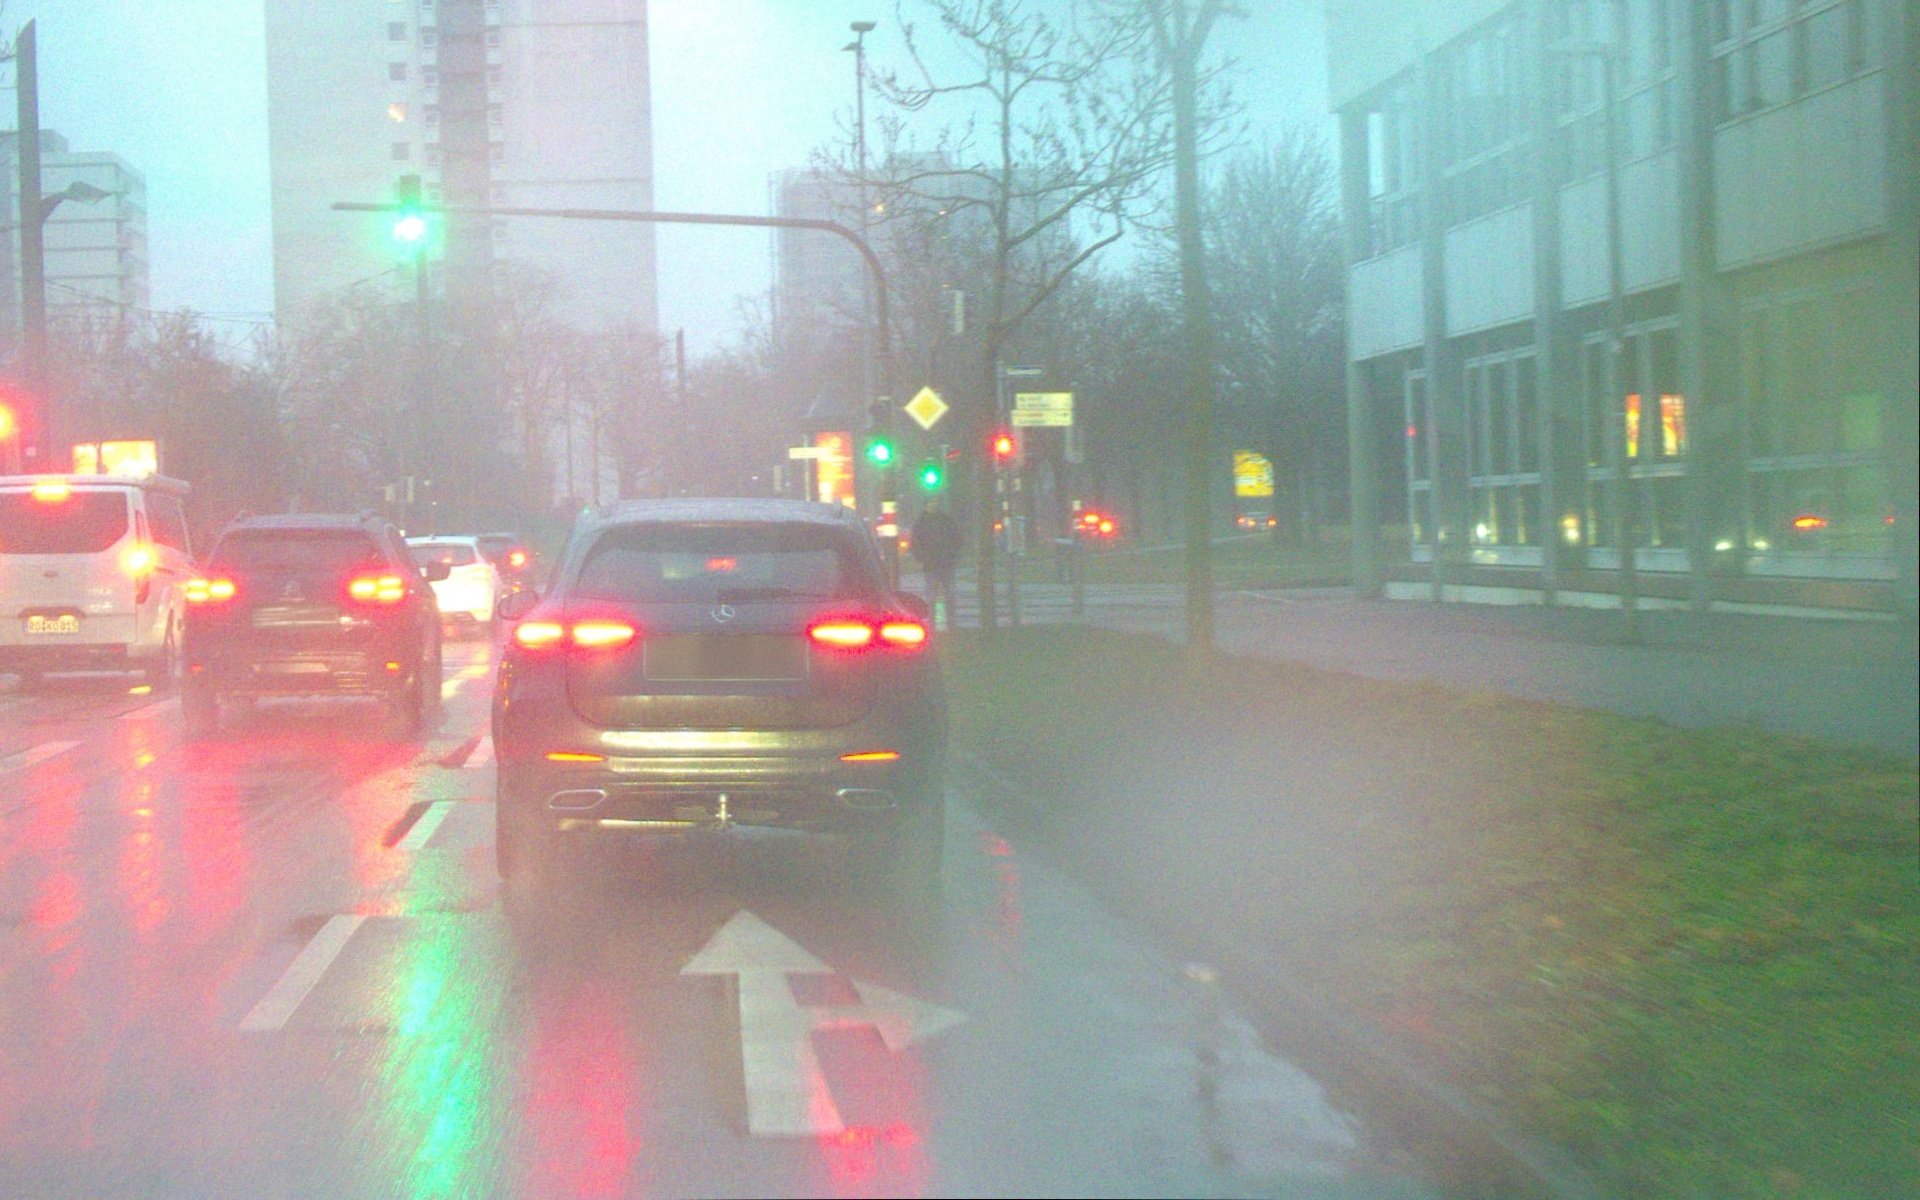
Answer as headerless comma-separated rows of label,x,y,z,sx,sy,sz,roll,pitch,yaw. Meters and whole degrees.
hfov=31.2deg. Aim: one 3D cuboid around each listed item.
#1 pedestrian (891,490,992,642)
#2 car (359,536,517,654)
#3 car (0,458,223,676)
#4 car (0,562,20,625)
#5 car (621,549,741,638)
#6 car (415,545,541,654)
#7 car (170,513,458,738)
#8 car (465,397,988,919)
pedestrian,-0.221,-0.420,41.785,0.796,1.744,0.861,-5,2,22
car,-7.462,-0.073,49.456,1.993,1.636,4.023,0,0,-5
car,-8.734,-0.350,34.588,1.952,2.026,4.884,-1,1,-5
car,-25.495,-0.172,88.756,1.804,1.601,4.001,0,0,-7
car,-4.567,-0.139,56.010,1.886,1.349,4.102,0,1,-5
car,-9.127,-0.019,65.319,1.993,2.007,4.000,0,0,-2
car,-5.228,0.187,28.327,1.993,1.706,4.325,0,0,-6
car,-1.162,0.214,15.122,1.993,1.969,4.069,0,0,-8
